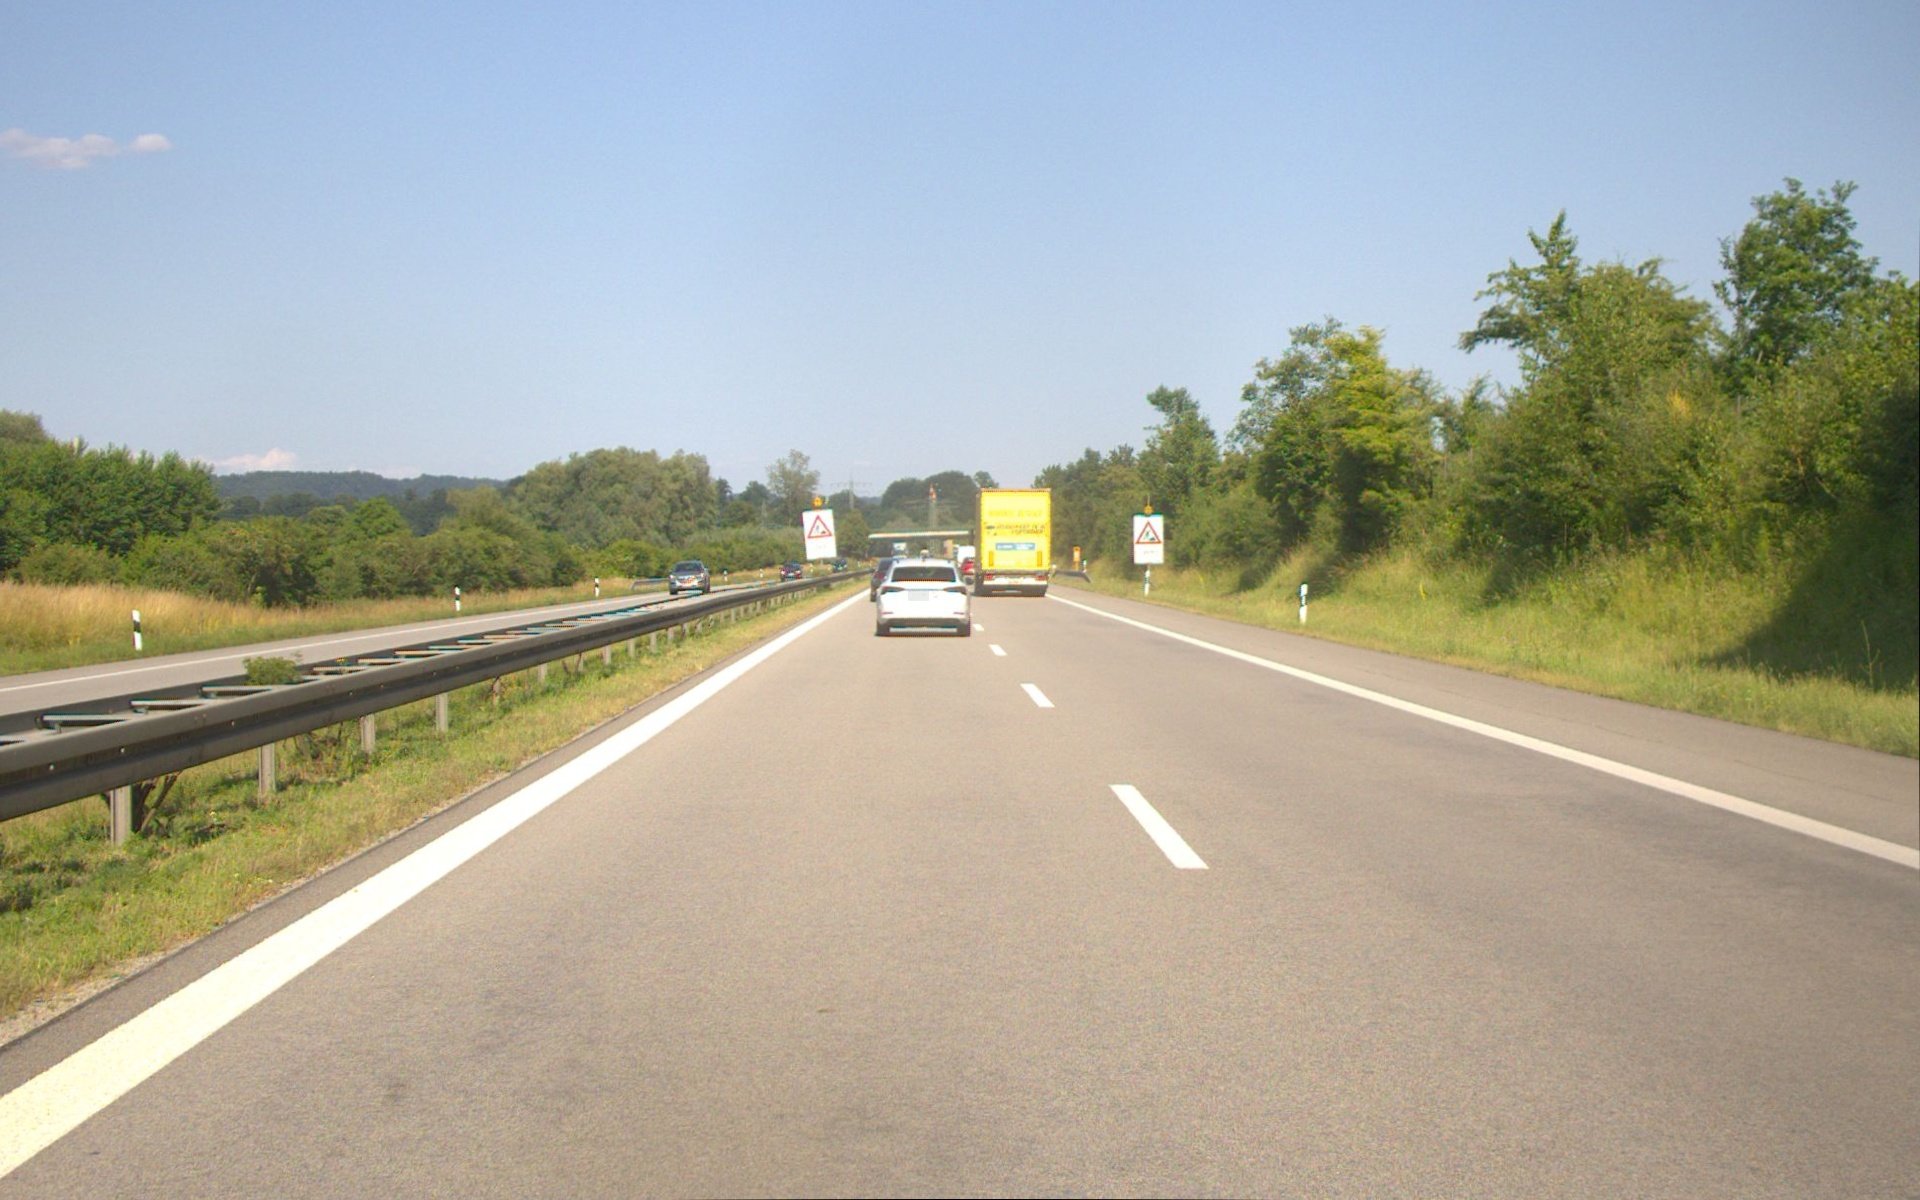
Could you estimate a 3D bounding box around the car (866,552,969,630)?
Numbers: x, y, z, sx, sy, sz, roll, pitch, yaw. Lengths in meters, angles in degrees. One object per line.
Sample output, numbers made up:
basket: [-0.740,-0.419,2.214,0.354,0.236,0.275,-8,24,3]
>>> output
car: [-0.775,-0.182,65.161,1.843,1.411,4.000,1,1,1]

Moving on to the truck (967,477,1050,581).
truck: [1.945,-2.861,140.630,3.168,4.100,6.389,1,1,-1]

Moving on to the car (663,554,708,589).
car: [-13.832,-1.428,173.320,1.902,1.677,4.731,-2,1,-1]

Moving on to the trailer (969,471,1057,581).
trailer: [1.981,-2.822,134.154,3.184,4.045,13.187,1,1,0]

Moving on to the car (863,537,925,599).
car: [-2.206,-1.072,115.204,1.993,2.007,4.000,1,1,-1]
